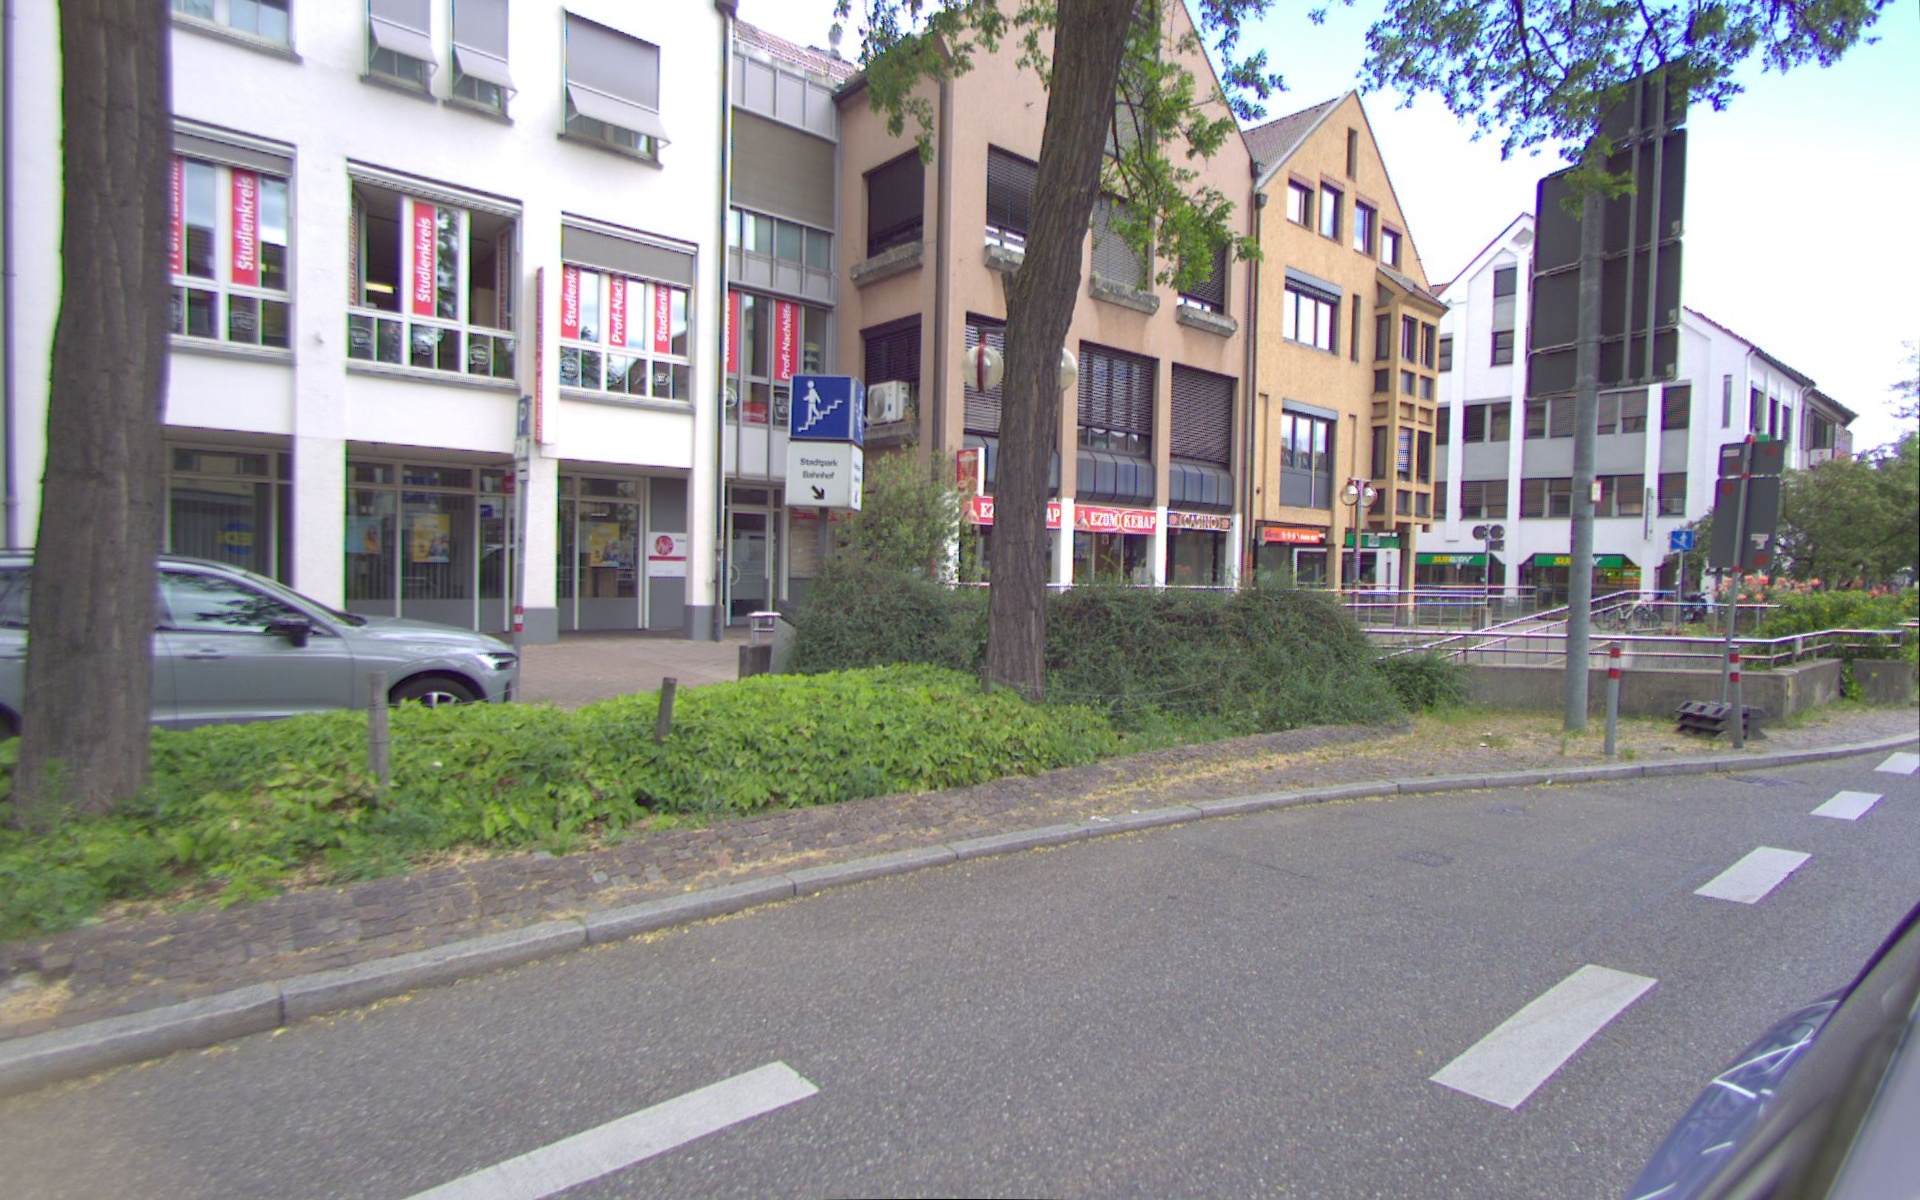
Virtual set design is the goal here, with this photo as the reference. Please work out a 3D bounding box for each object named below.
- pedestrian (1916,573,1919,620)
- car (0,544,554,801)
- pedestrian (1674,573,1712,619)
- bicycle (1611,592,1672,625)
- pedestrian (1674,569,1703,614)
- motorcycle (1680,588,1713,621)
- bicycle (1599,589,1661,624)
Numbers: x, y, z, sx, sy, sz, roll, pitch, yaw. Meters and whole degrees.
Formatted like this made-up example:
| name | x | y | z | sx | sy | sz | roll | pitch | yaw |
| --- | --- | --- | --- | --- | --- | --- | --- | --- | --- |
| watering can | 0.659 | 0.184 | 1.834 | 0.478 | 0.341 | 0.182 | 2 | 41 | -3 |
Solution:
| name | x | y | z | sx | sy | sz | roll | pitch | yaw |
| --- | --- | --- | --- | --- | --- | --- | --- | --- | --- |
| pedestrian | 33.381 | -0.120 | 34.780 | 0.672 | 1.596 | 0.653 | 0 | 1 | -40 |
| car | -5.882 | 0.413 | 7.844 | 4.684 | 1.615 | 1.996 | 0 | 2 | -44 |
| pedestrian | 28.937 | -0.180 | 39.983 | 0.874 | 1.779 | 0.940 | 1 | 1 | 15 |
| bicycle | 21.556 | 0.259 | 32.029 | 1.584 | 0.981 | 0.455 | 2 | 2 | 36 |
| pedestrian | 30.204 | -0.354 | 41.946 | 0.772 | 1.846 | 0.869 | -1 | 0 | -44 |
| motorcycle | 25.207 | 0.154 | 34.614 | 1.960 | 1.081 | 0.464 | 0 | 2 | -41 |
| bicycle | 20.880 | 0.188 | 31.554 | 1.584 | 1.014 | 0.409 | 2 | 2 | 37 |
